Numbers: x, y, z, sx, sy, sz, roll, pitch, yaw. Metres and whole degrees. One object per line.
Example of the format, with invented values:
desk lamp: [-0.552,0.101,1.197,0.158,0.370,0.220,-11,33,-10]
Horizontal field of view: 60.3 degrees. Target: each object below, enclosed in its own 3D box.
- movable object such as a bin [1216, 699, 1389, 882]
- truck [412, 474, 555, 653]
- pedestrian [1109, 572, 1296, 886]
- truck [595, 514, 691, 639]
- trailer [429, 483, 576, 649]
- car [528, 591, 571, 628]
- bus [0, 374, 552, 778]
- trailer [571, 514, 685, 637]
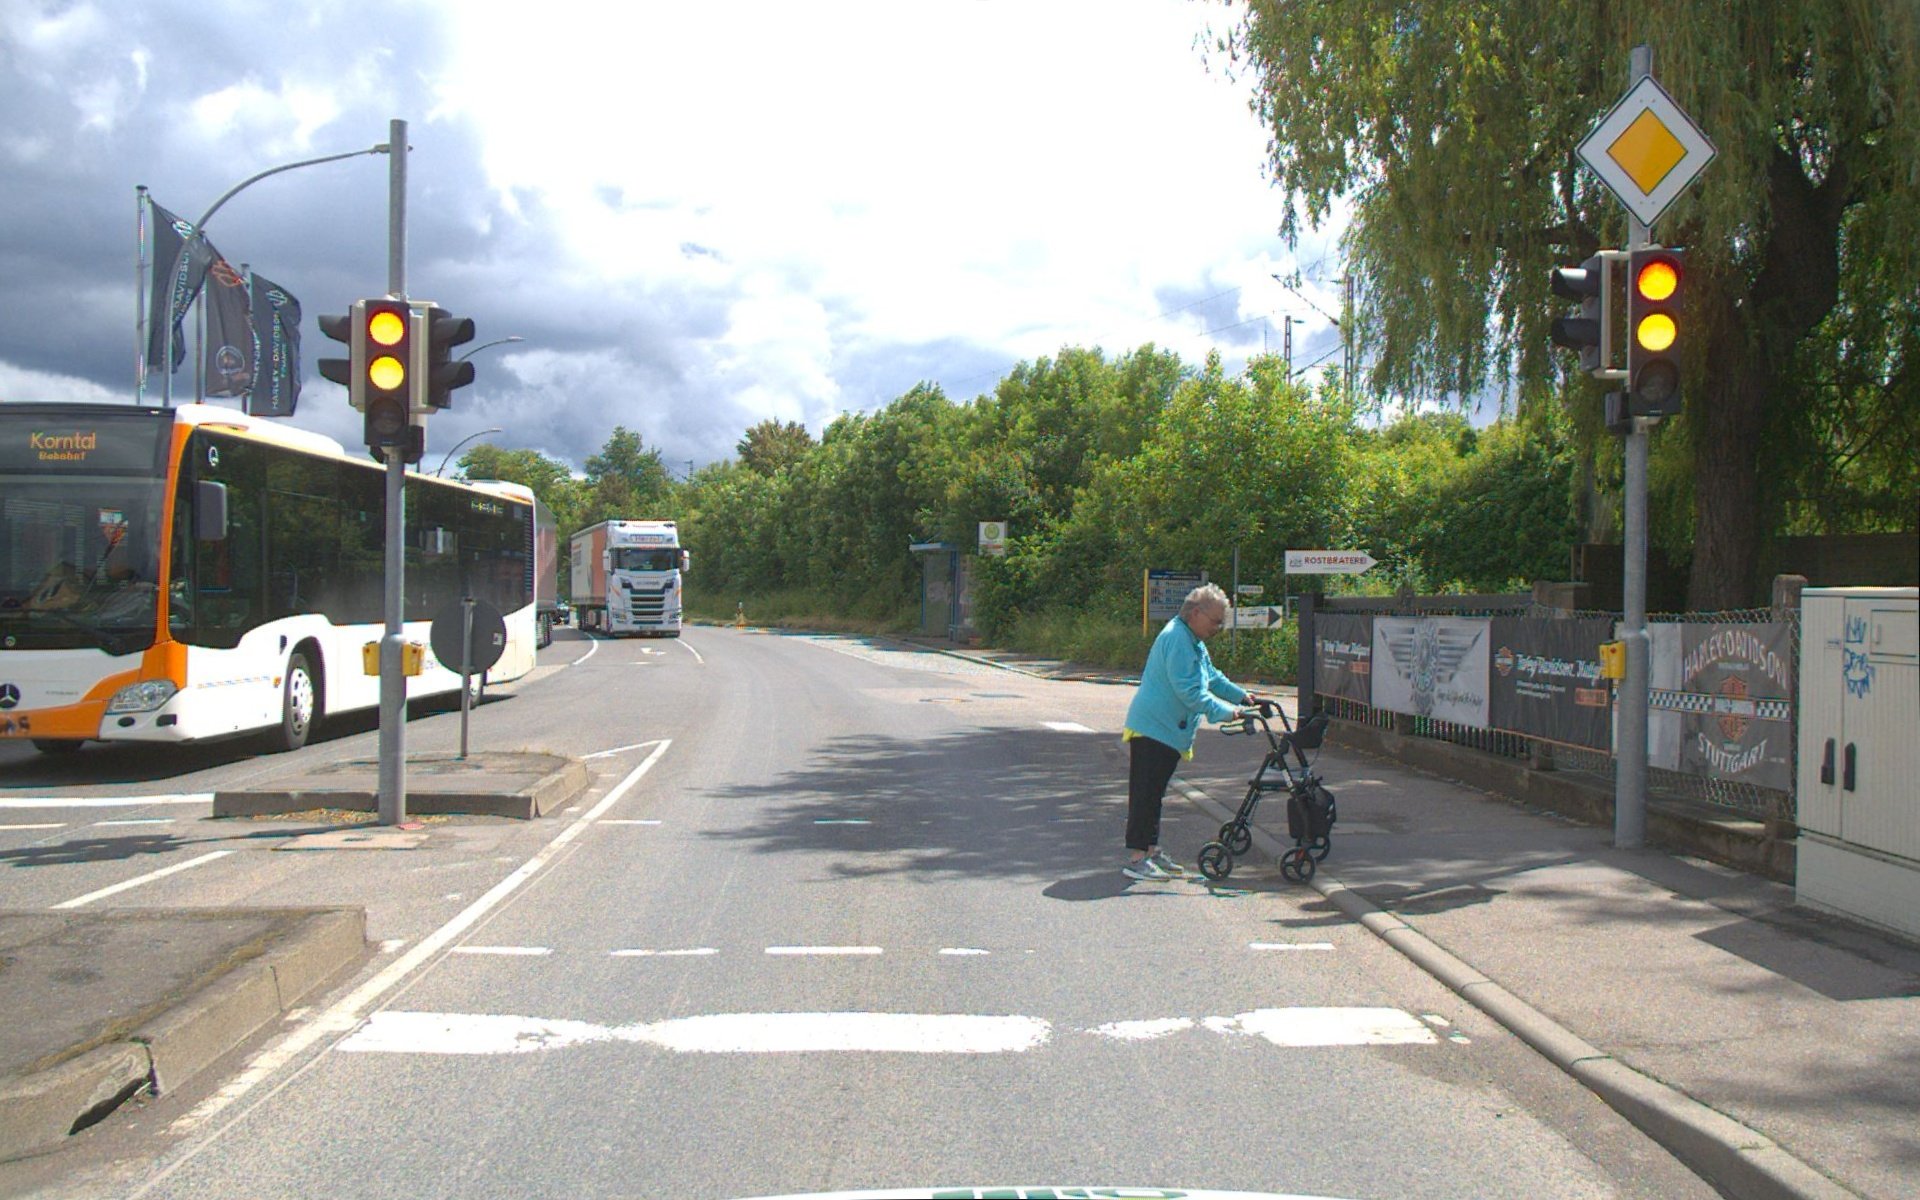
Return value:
movable object such as a bin: [1.792,0.988,8.733,0.731,0.887,0.670,1,0,-4]
truck: [-11.900,-0.842,41.794,2.748,4.124,6.484,1,0,-10]
pedestrian: [1.256,0.653,8.697,0.822,1.570,0.733,1,-1,-4]
truck: [-11.306,-0.786,58.652,2.728,4.191,4.961,1,0,-18]
trailer: [-13.259,-0.834,49.184,2.748,4.124,15.517,1,0,-10]
car: [-20.309,0.461,81.772,1.961,1.736,3.984,1,0,-15]
bus: [-7.387,-0.161,18.734,2.663,3.084,12.263,0,0,-1]
trailer: [-13.280,-0.852,64.958,2.728,4.217,15.274,1,0,-17]
